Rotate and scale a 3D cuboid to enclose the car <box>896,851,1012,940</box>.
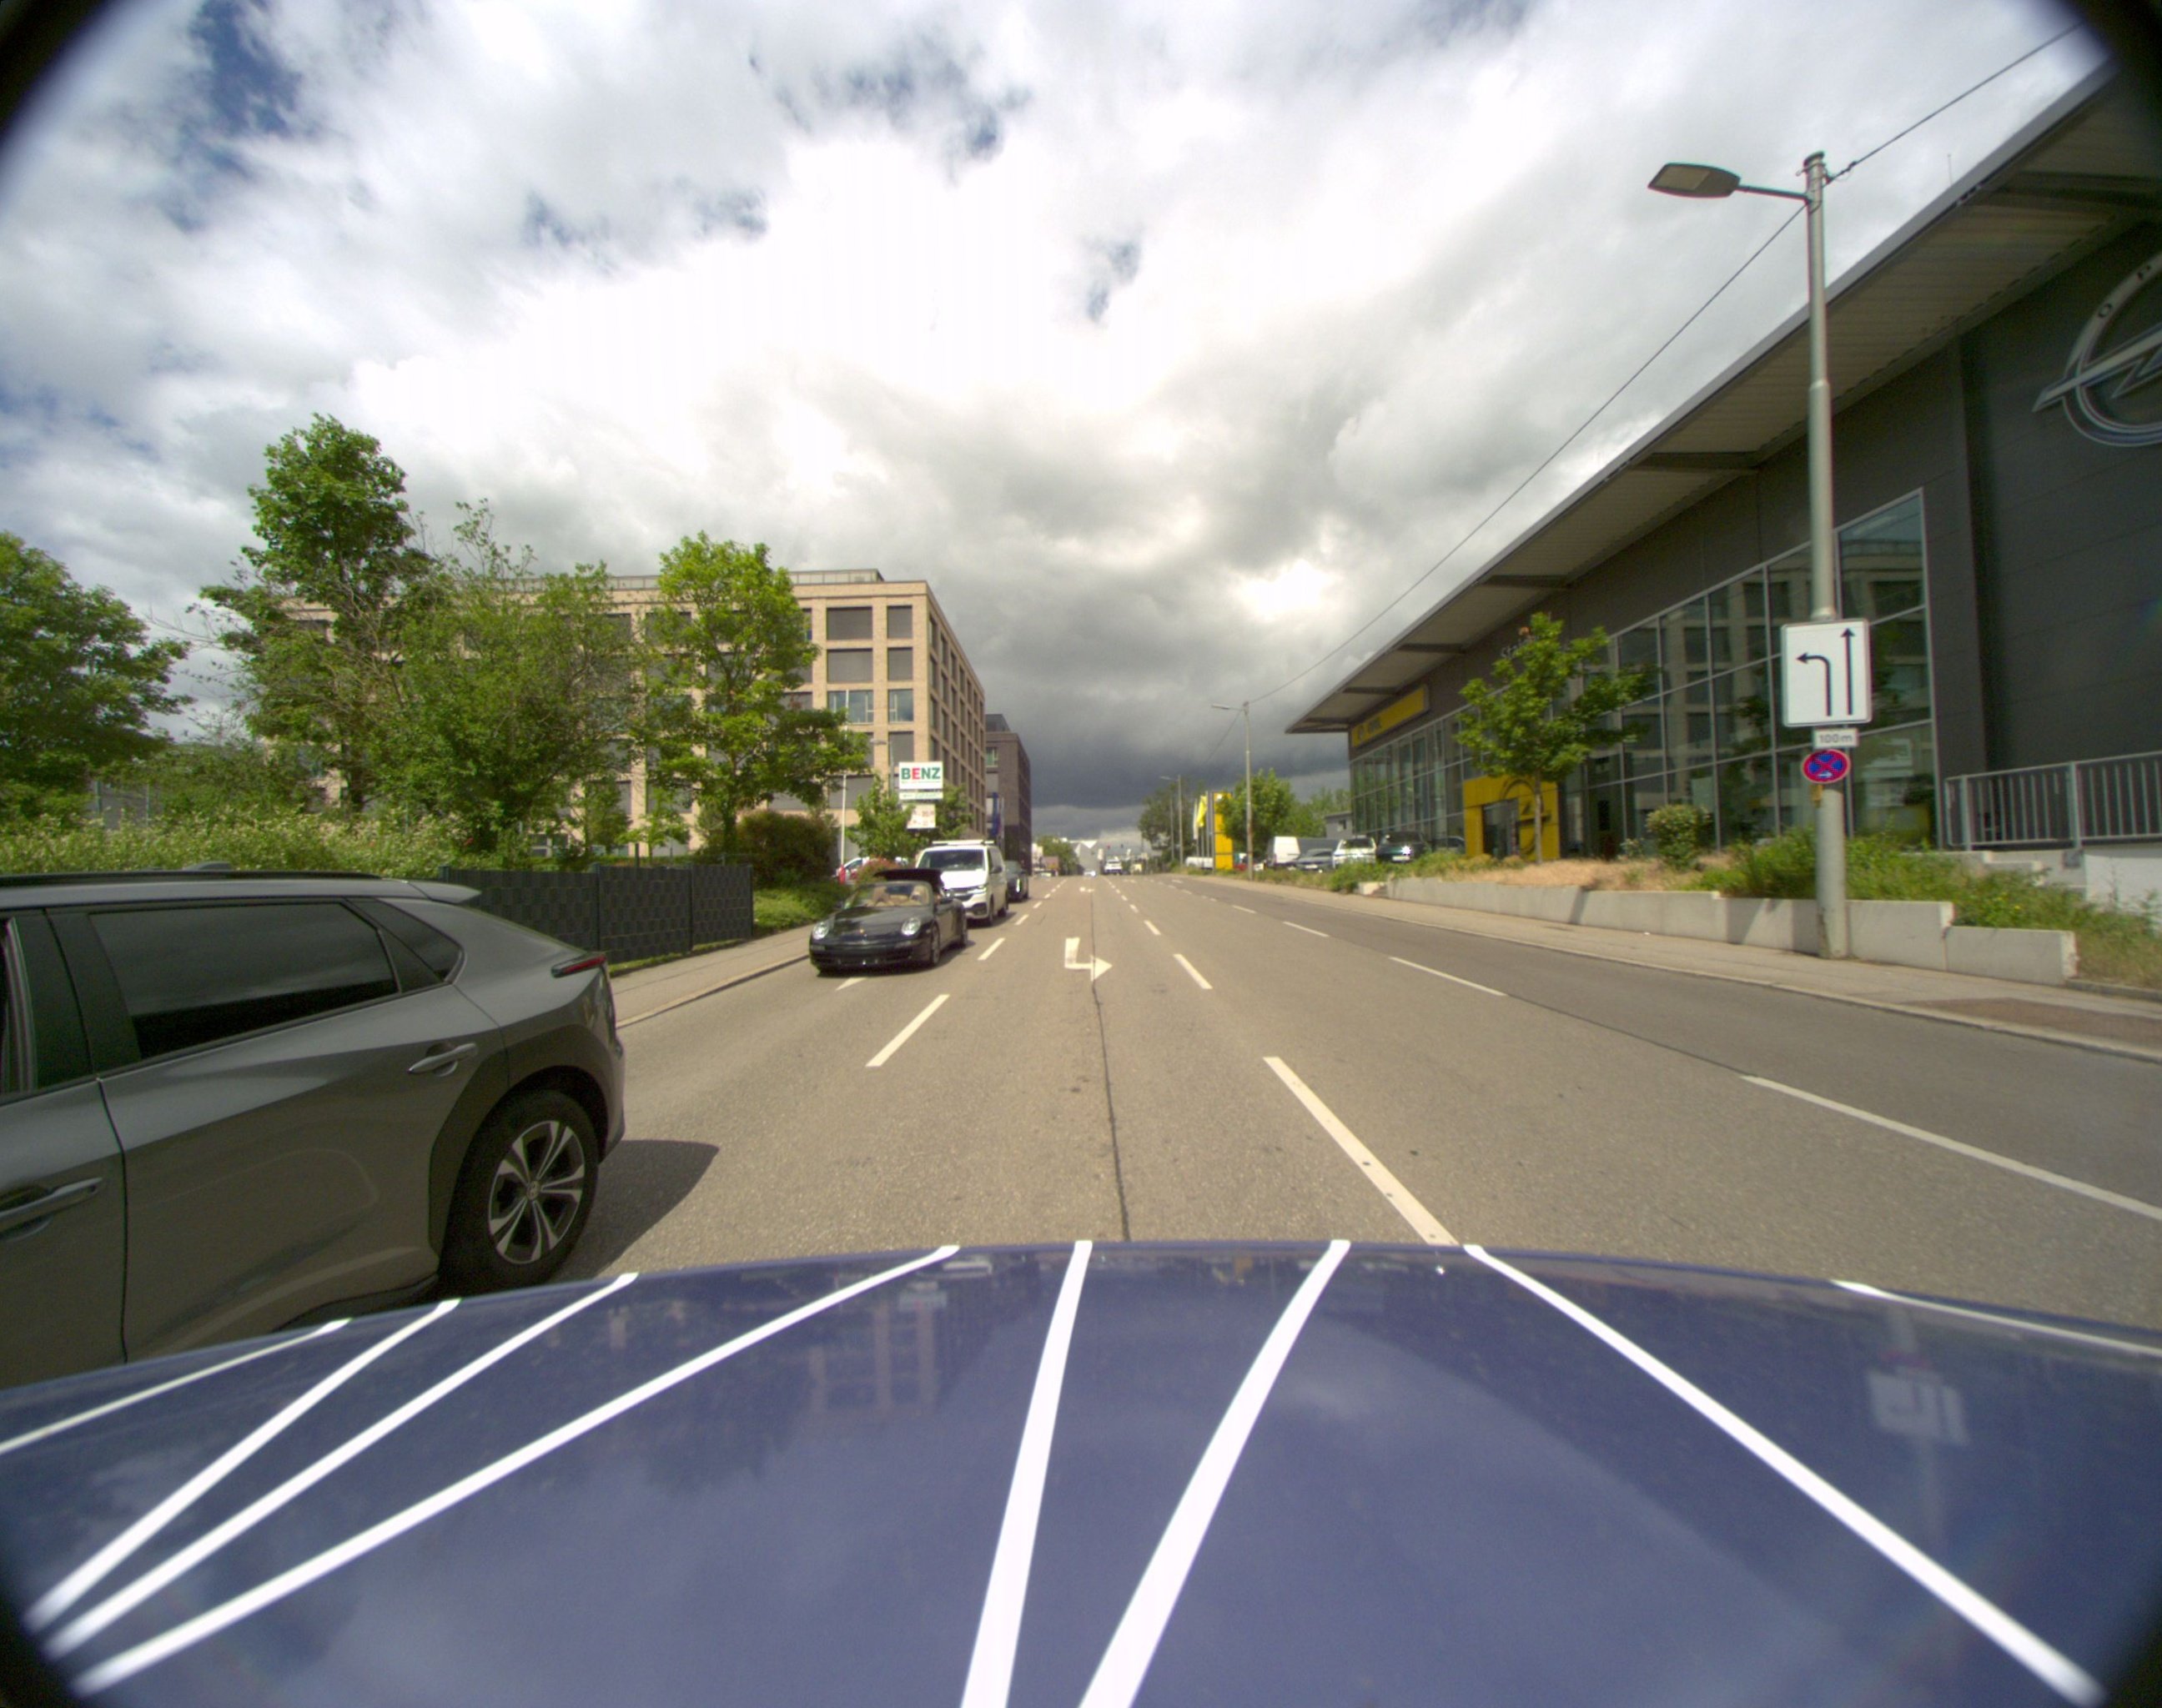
[{"bbox_3d":[-2.976,0.910,18.886,1.964,1.840,4.645,-3,0,1],"label":"car"}]

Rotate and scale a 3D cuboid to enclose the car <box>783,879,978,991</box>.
[{"bbox_3d":[-2.965,1.148,12.324,1.777,1.267,4.569,-3,0,2],"label":"car"}]

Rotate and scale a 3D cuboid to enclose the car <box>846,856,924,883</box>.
[{"bbox_3d":[-11.672,0.911,45.505,4.220,1.567,1.735,-1,0,-4],"label":"car"}]

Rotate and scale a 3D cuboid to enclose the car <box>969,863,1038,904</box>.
[{"bbox_3d":[-2.777,1.043,28.204,1.777,1.267,4.569,-1,0,4],"label":"car"}]

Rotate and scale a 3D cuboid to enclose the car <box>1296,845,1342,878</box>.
[{"bbox_3d":[12.254,0.373,38.942,1.794,1.604,4.116,-1,0,24],"label":"car"}]

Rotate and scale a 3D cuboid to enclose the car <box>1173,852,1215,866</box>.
[{"bbox_3d":[12.529,0.521,84.464,4.252,1.473,2.095,-1,0,-2],"label":"car"}]

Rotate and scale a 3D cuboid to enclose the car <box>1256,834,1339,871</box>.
[{"bbox_3d":[13.554,-0.110,47.778,4.532,2.182,2.178,-1,1,-3],"label":"car"}]

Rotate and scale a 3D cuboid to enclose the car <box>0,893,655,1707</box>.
[{"bbox_3d":[-2.994,1.020,1.165,1.924,1.604,4.683,-3,0,1],"label":"car"}]

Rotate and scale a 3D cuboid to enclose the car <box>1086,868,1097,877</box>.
[{"bbox_3d":[1.878,3.272,135.587,1.866,1.398,4.000,-1,0,1],"label":"car"}]

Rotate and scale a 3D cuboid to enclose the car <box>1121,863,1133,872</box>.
[{"bbox_3d":[8.321,2.461,138.043,1.762,1.513,3.960,-1,0,8],"label":"car"}]

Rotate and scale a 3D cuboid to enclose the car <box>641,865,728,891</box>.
[{"bbox_3d":[-23.377,1.414,44.898,4.219,1.410,1.735,-1,0,-1],"label":"car"}]

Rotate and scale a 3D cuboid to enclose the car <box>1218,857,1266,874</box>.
[{"bbox_3d":[13.707,0.977,64.802,3.669,1.401,1.815,-1,0,2],"label":"car"}]

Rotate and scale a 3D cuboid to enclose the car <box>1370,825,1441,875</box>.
[{"bbox_3d":[12.338,-0.130,28.769,1.817,1.603,4.117,-5,-3,31],"label":"car"}]

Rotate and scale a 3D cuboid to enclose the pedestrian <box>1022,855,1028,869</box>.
[{"bbox_3d":[-6.245,0.884,84.630,0.578,1.497,0.542,-1,1,1],"label":"pedestrian"}]

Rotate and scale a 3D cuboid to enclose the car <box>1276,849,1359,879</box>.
[{"bbox_3d":[13.336,0.570,43.019,4.108,1.604,1.797,-1,0,-8],"label":"car"}]

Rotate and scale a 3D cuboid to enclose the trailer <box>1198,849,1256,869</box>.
[{"bbox_3d":[13.148,0.442,68.688,4.835,1.742,2.095,-1,0,-3],"label":"trailer"}]

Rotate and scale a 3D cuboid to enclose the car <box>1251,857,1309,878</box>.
[{"bbox_3d":[14.963,1.018,57.292,3.946,1.518,1.561,-1,0,-2],"label":"car"}]

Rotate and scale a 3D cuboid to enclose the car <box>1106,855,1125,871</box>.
[{"bbox_3d":[3.735,0.970,83.108,1.924,1.604,4.416,-1,0,1],"label":"car"}]

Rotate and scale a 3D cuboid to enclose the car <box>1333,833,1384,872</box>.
[{"bbox_3d":[12.315,-0.088,33.589,1.793,1.604,4.115,-1,1,25],"label":"car"}]
